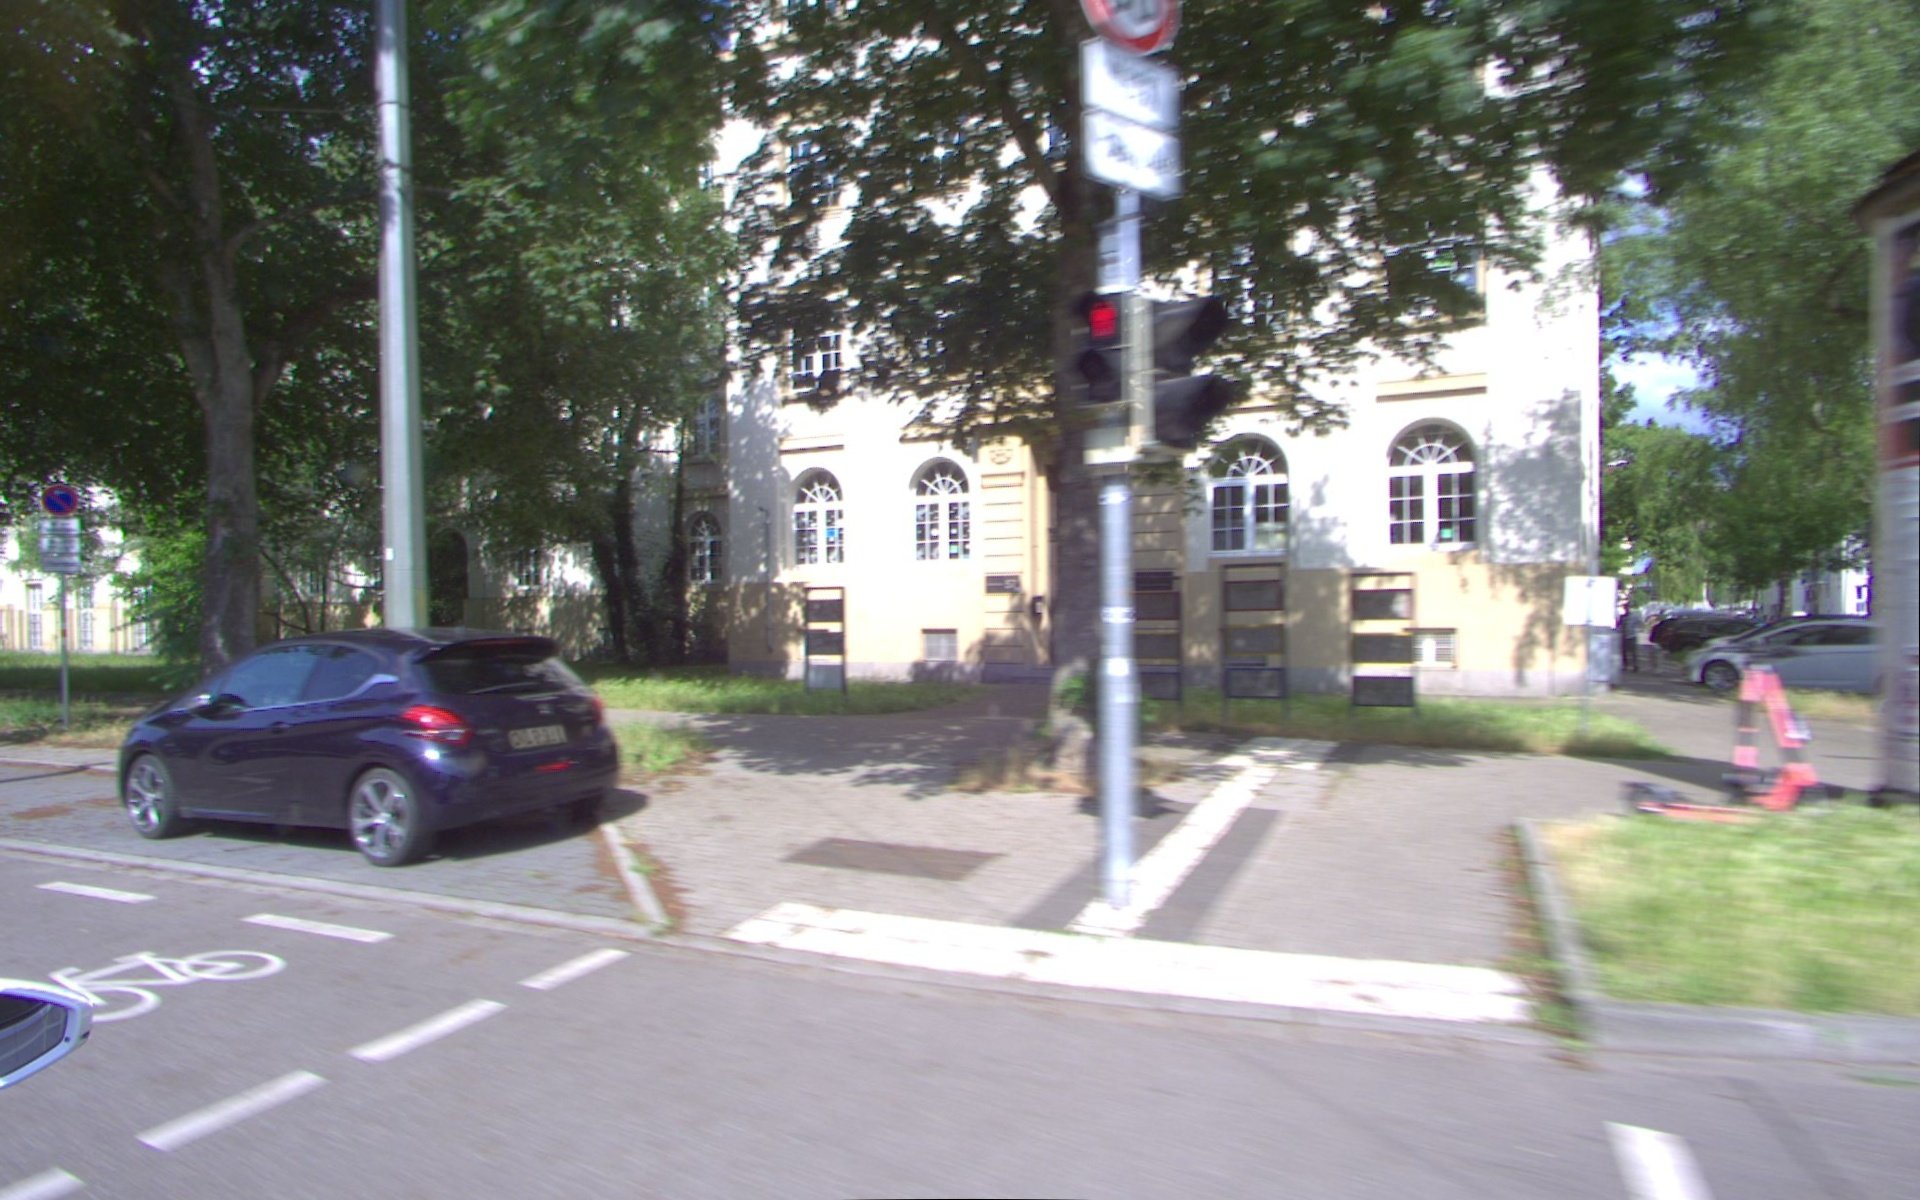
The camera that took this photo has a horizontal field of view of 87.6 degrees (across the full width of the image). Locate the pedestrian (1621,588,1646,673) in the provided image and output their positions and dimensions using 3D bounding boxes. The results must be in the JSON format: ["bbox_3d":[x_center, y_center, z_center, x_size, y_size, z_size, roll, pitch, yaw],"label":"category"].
[{"bbox_3d":[16.581,0.743,24.667,0.495,2.040,0.625,0,0,33],"label":"pedestrian"}]

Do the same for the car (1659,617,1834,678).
[{"bbox_3d":[20.412,1.177,26.110,1.568,1.475,3.256,0,-1,-24],"label":"car"}]

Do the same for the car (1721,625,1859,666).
[{"bbox_3d":[25.217,1.365,30.505,1.265,1.143,2.982,0,-1,-29],"label":"car"}]

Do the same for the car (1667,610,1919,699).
[{"bbox_3d":[16.142,0.940,18.772,1.598,1.505,4.522,0,-1,-28],"label":"car"}]

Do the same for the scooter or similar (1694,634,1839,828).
[{"bbox_3d":[5.614,0.869,6.966,1.011,1.247,0.435,0,0,-29],"label":"scooter or similar"}]

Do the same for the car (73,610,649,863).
[{"bbox_3d":[-4.433,0.830,7.432,3.839,1.452,1.765,-1,0,24],"label":"car"}]

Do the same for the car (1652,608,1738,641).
[{"bbox_3d":[33.214,1.077,45.270,1.218,1.435,2.968,0,0,-43],"label":"car"}]

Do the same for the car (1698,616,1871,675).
[{"bbox_3d":[22.097,1.169,26.962,1.568,1.475,3.254,-1,0,-25],"label":"car"}]

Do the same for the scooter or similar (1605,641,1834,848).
[{"bbox_3d":[4.896,0.884,6.506,0.303,1.205,1.151,-1,0,-42],"label":"scooter or similar"}]

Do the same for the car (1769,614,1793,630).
[{"bbox_3d":[76.689,2.035,93.562,1.473,1.486,3.277,-1,-1,34],"label":"car"}]

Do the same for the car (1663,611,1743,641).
[{"bbox_3d":[42.754,1.486,57.688,1.392,1.686,3.492,0,-1,-30],"label":"car"}]
